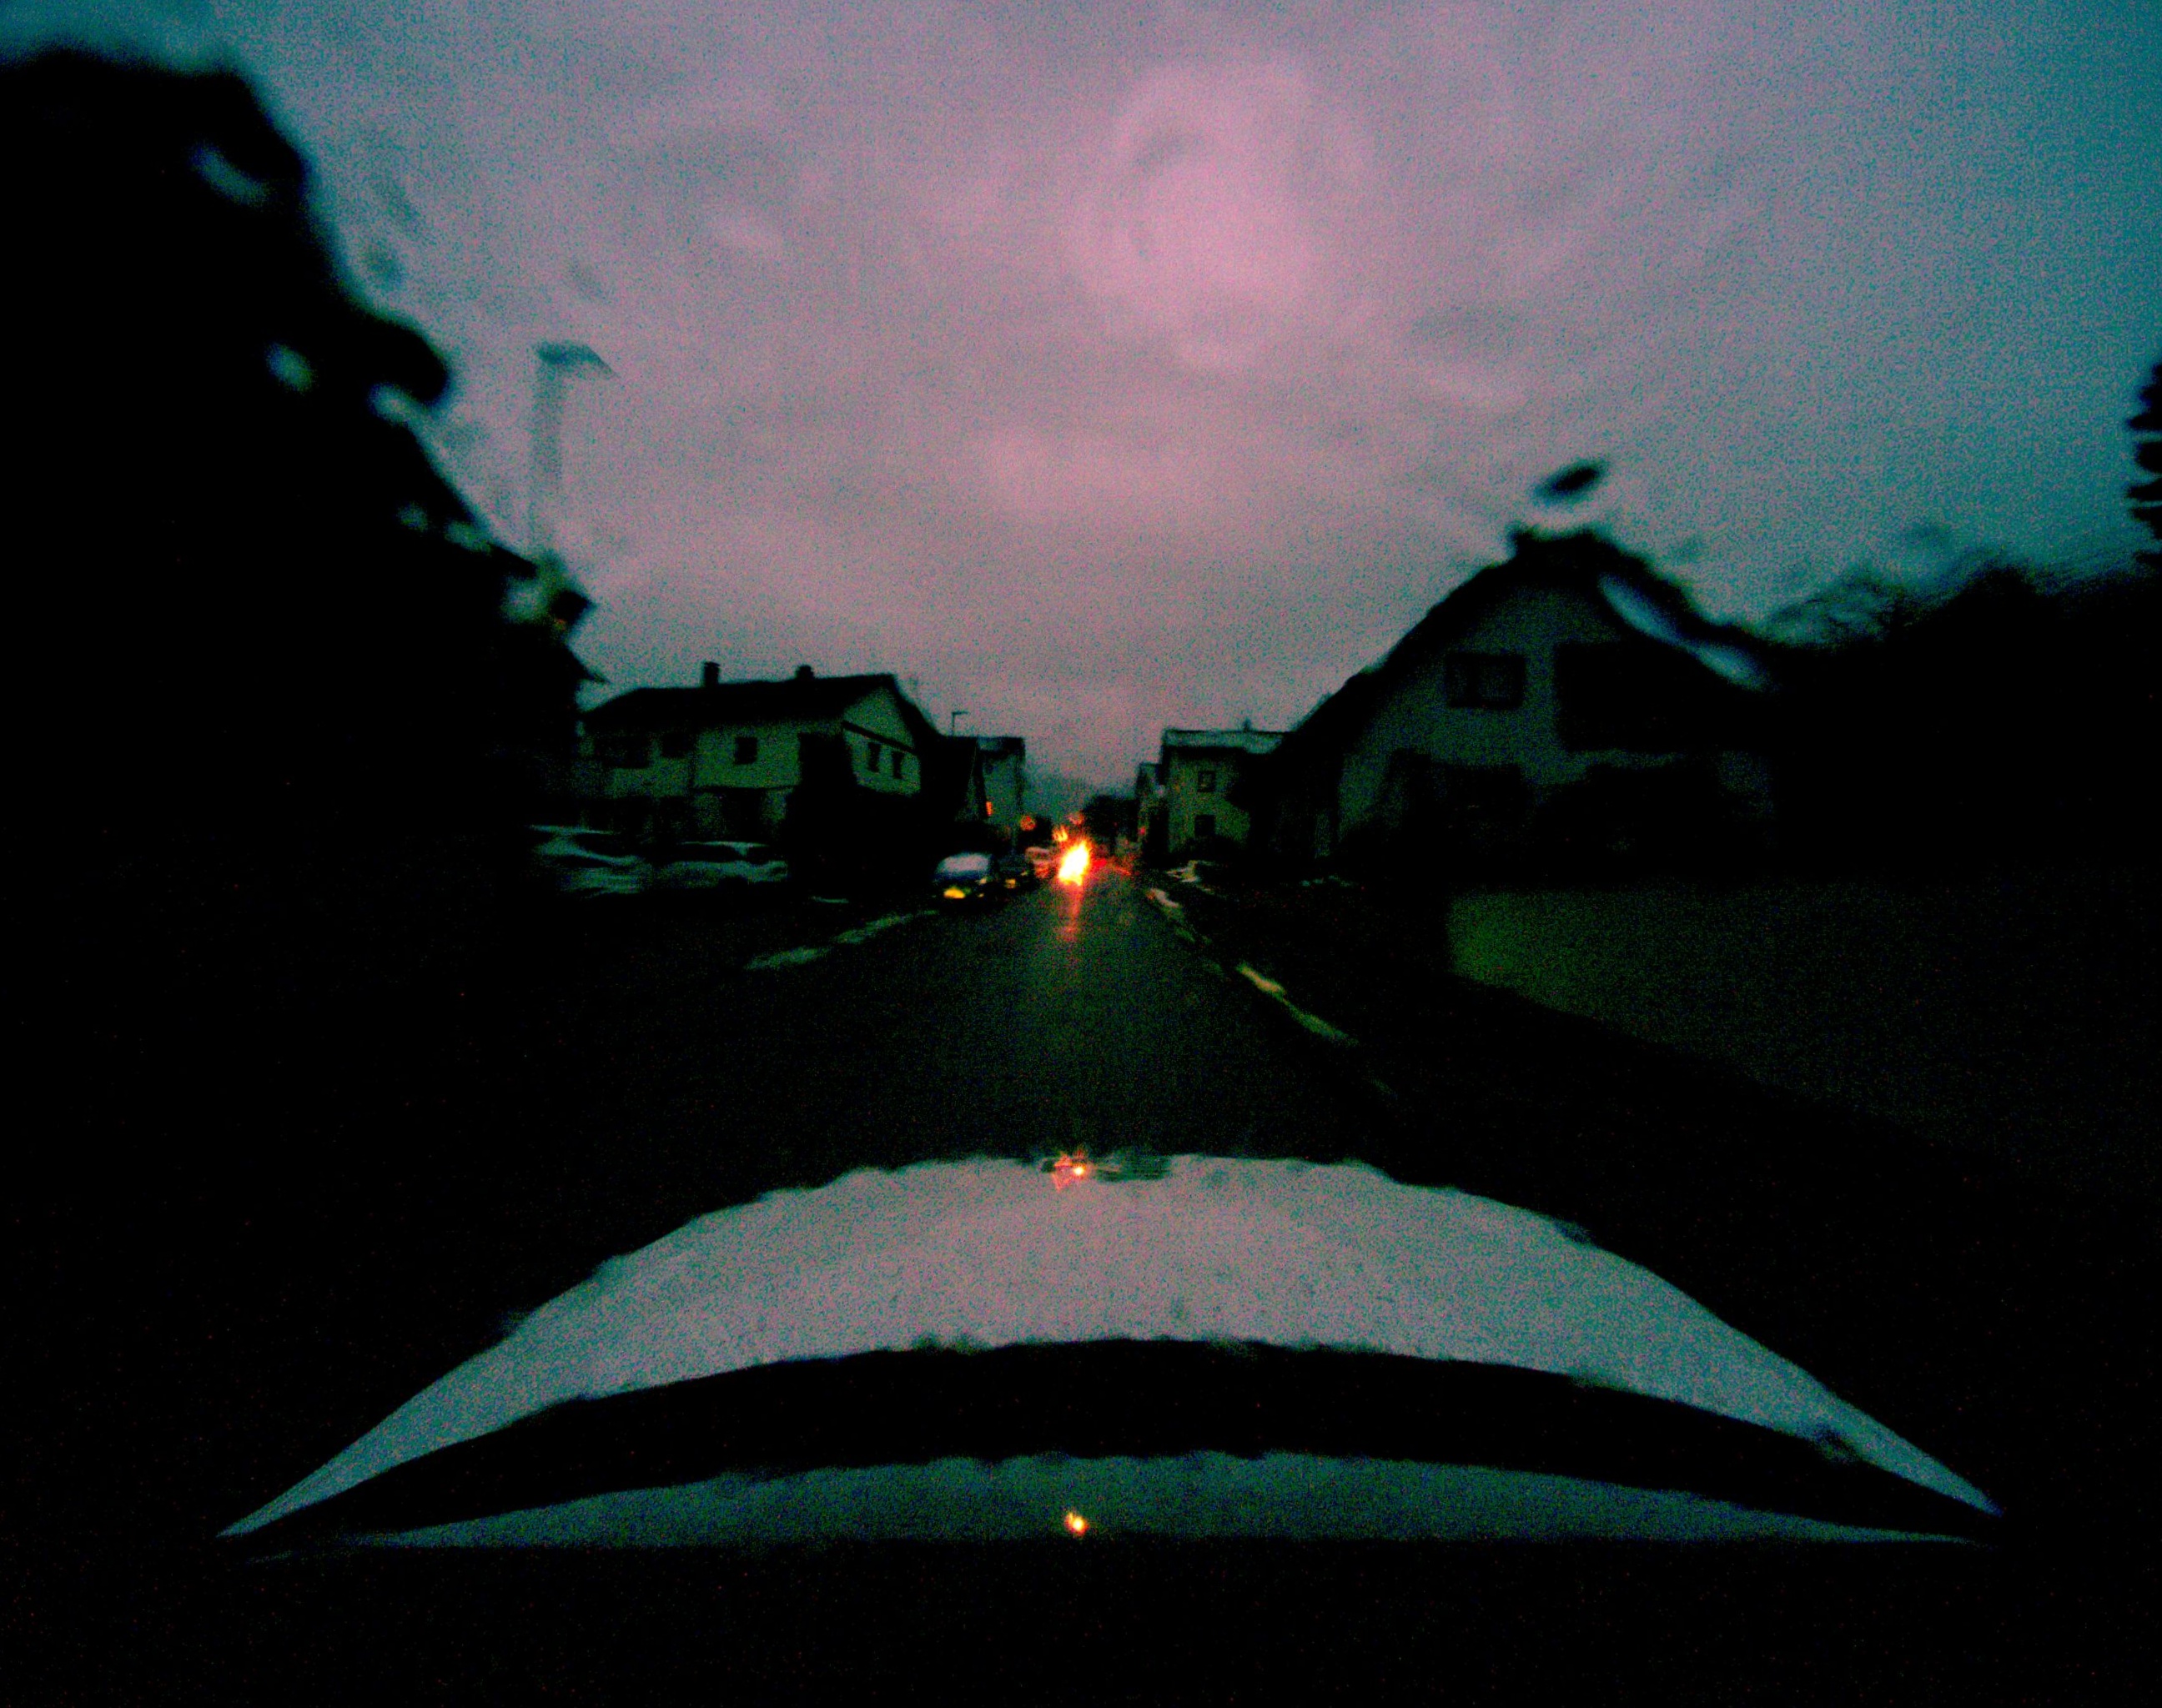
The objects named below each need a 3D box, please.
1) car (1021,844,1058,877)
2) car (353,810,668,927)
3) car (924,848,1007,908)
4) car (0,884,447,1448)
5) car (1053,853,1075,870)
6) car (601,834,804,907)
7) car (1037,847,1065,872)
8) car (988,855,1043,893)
[{"bbox_3d":[-2.465,0.379,49.149,1.819,1.835,4.347,-1,0,2],"label":"car"},{"bbox_3d":[-9.571,0.221,13.886,3.967,1.746,2.003,2,0,5],"label":"car"},{"bbox_3d":[-3.259,0.670,23.808,1.677,1.584,4.177,-1,-1,2],"label":"car"},{"bbox_3d":[-3.728,0.809,0.946,1.870,1.394,5.077,-1,-1,2],"label":"car"},{"bbox_3d":[-1.696,0.730,81.657,1.986,1.650,4.001,0,-1,2],"label":"car"},{"bbox_3d":[-9.058,0.375,19.689,3.967,1.618,1.891,1,0,5],"label":"car"},{"bbox_3d":[-2.300,0.400,63.447,1.987,1.800,3.999,-1,0,-1],"label":"car"},{"bbox_3d":[-2.802,0.836,35.696,1.786,1.503,4.313,-1,0,3],"label":"car"}]
